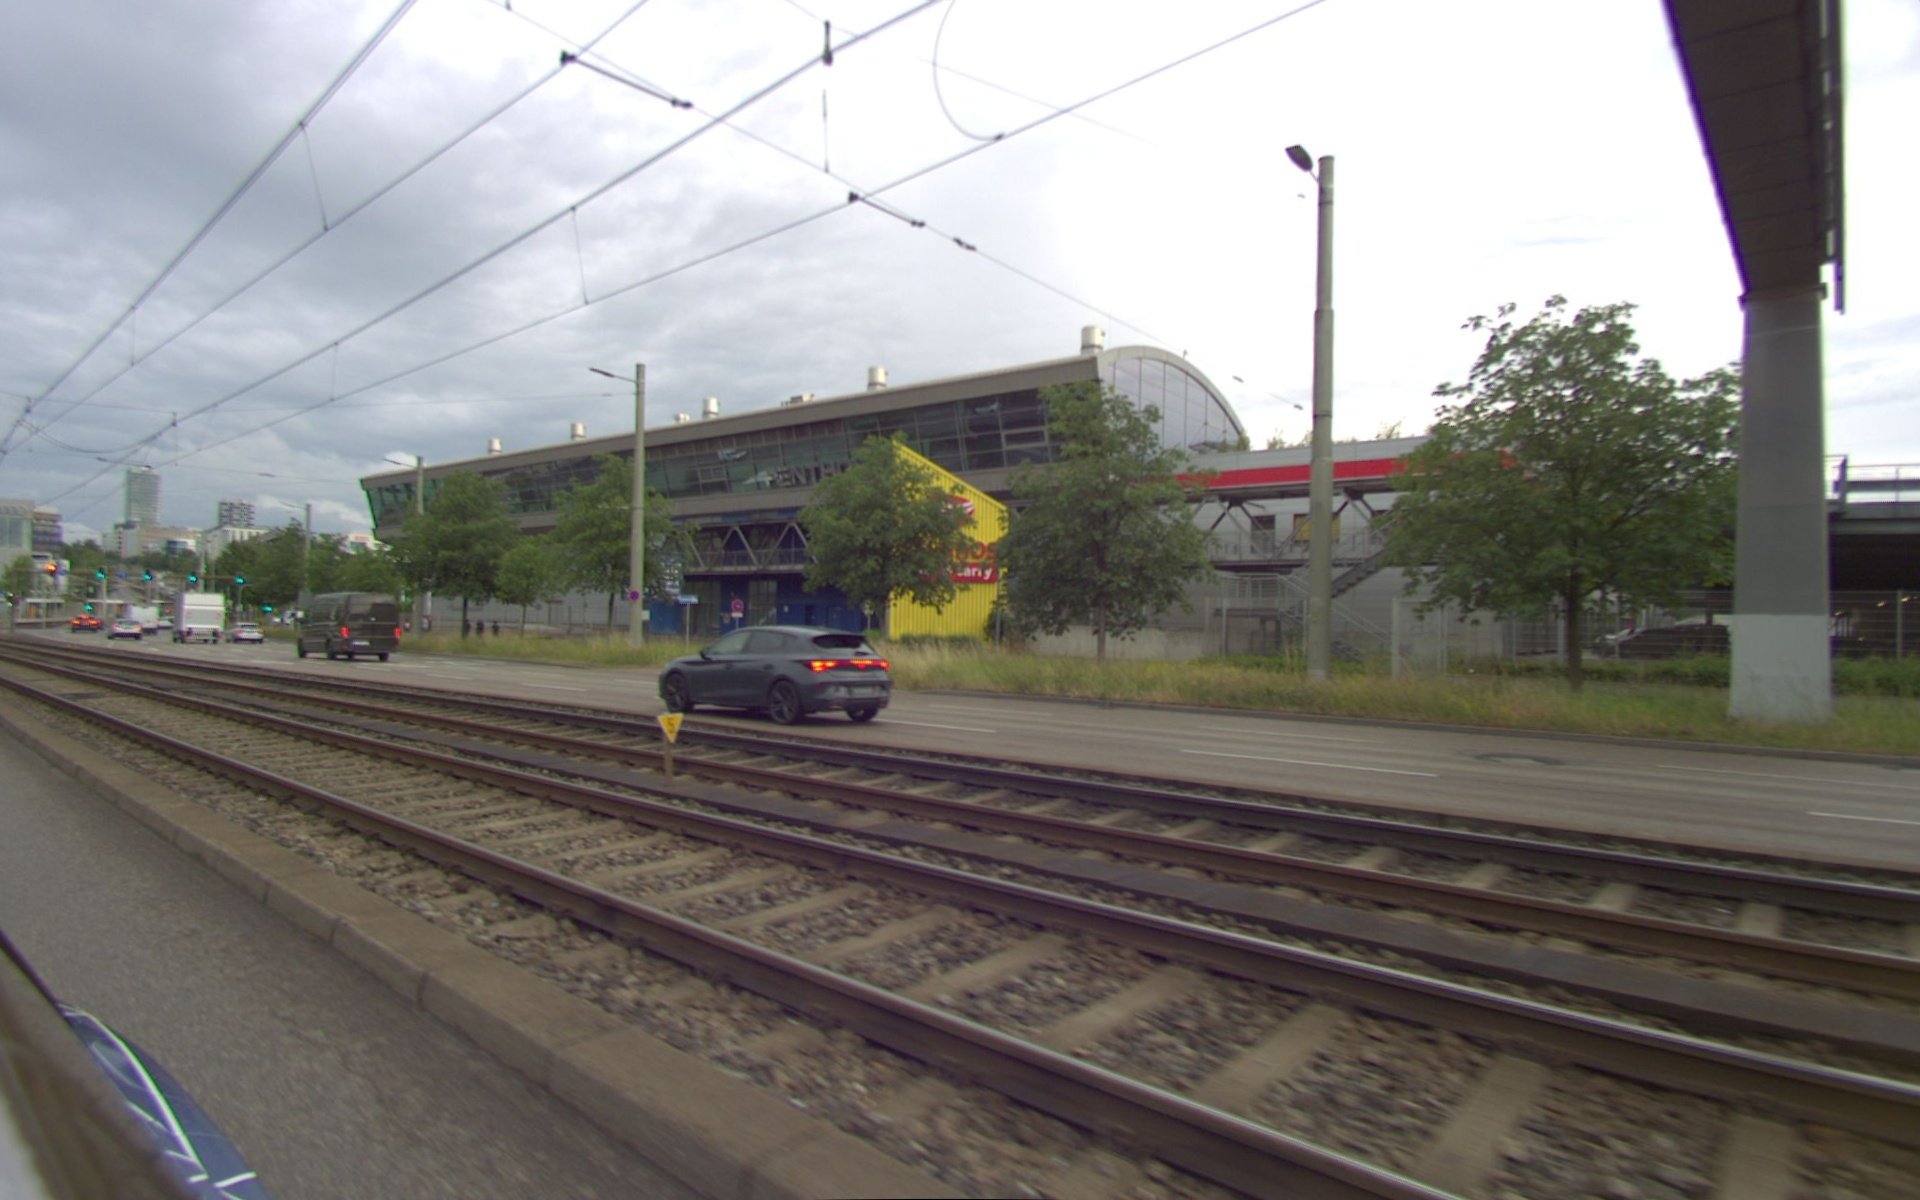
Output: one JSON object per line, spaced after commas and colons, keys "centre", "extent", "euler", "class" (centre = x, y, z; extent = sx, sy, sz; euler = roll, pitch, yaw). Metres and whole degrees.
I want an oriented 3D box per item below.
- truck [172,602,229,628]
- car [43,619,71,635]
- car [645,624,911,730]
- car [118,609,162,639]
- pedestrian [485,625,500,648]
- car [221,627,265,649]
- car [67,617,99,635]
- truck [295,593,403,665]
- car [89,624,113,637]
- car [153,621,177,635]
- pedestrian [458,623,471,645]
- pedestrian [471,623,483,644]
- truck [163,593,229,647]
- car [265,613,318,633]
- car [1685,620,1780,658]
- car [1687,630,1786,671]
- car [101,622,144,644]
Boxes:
{"centre": [-115.213, 2.361, 153.763], "extent": [4.022, 3.785, 10.888], "euler": [1, -2, -21], "class": "truck"}
{"centre": [-102.058, 3.053, 114.349], "extent": [4.678, 1.744, 1.971], "euler": [-1, -3, 43], "class": "car"}
{"centre": [-2.929, 1.125, 15.833], "extent": [4.232, 1.440, 1.784], "euler": [-1, -3, 40], "class": "car"}
{"centre": [-73.928, 2.164, 91.231], "extent": [2.404, 2.519, 6.552], "euler": [4, -4, -44], "class": "car"}
{"centre": [-31.380, 2.448, 67.949], "extent": [0.744, 1.450, 0.602], "euler": [-1, 0, 38], "class": "pedestrian"}
{"centre": [-51.284, 2.689, 72.382], "extent": [1.875, 1.500, 4.426], "euler": [3, -3, -44], "class": "car"}
{"centre": [-82.679, 2.449, 95.425], "extent": [4.362, 1.669, 1.887], "euler": [-2, -4, 45], "class": "car"}
{"centre": [-24.134, 1.127, 39.821], "extent": [2.212, 2.584, 7.021], "euler": [2, -2, -43], "class": "truck"}
{"centre": [-108.960, 3.852, 128.310], "extent": [1.918, 1.684, 4.511], "euler": [3, -3, -45], "class": "car"}
{"centre": [-84.728, 2.981, 107.858], "extent": [1.726, 1.410, 4.005], "euler": [3, -3, -42], "class": "car"}
{"centre": [-34.626, 2.369, 70.685], "extent": [0.651, 1.467, 0.507], "euler": [-1, 0, 31], "class": "pedestrian"}
{"centre": [-33.914, 2.351, 71.087], "extent": [0.651, 1.467, 0.447], "euler": [-1, 0, 32], "class": "pedestrian"}
{"centre": [-51.224, 1.378, 67.788], "extent": [2.694, 3.383, 7.160], "euler": [4, -4, -42], "class": "truck"}
{"centre": [-81.825, 2.872, 123.927], "extent": [1.994, 2.350, 5.007], "euler": [-1, -2, 33], "class": "car"}
{"centre": [41.952, 2.101, 54.998], "extent": [3.998, 2.029, 1.973], "euler": [-1, -3, 41], "class": "car"}
{"centre": [40.468, 2.611, 52.776], "extent": [3.998, 2.029, 1.973], "euler": [-1, -3, 41], "class": "car"}
{"centre": [-60.246, 2.384, 72.808], "extent": [4.442, 1.510, 1.785], "euler": [-2, -5, 43], "class": "car"}
